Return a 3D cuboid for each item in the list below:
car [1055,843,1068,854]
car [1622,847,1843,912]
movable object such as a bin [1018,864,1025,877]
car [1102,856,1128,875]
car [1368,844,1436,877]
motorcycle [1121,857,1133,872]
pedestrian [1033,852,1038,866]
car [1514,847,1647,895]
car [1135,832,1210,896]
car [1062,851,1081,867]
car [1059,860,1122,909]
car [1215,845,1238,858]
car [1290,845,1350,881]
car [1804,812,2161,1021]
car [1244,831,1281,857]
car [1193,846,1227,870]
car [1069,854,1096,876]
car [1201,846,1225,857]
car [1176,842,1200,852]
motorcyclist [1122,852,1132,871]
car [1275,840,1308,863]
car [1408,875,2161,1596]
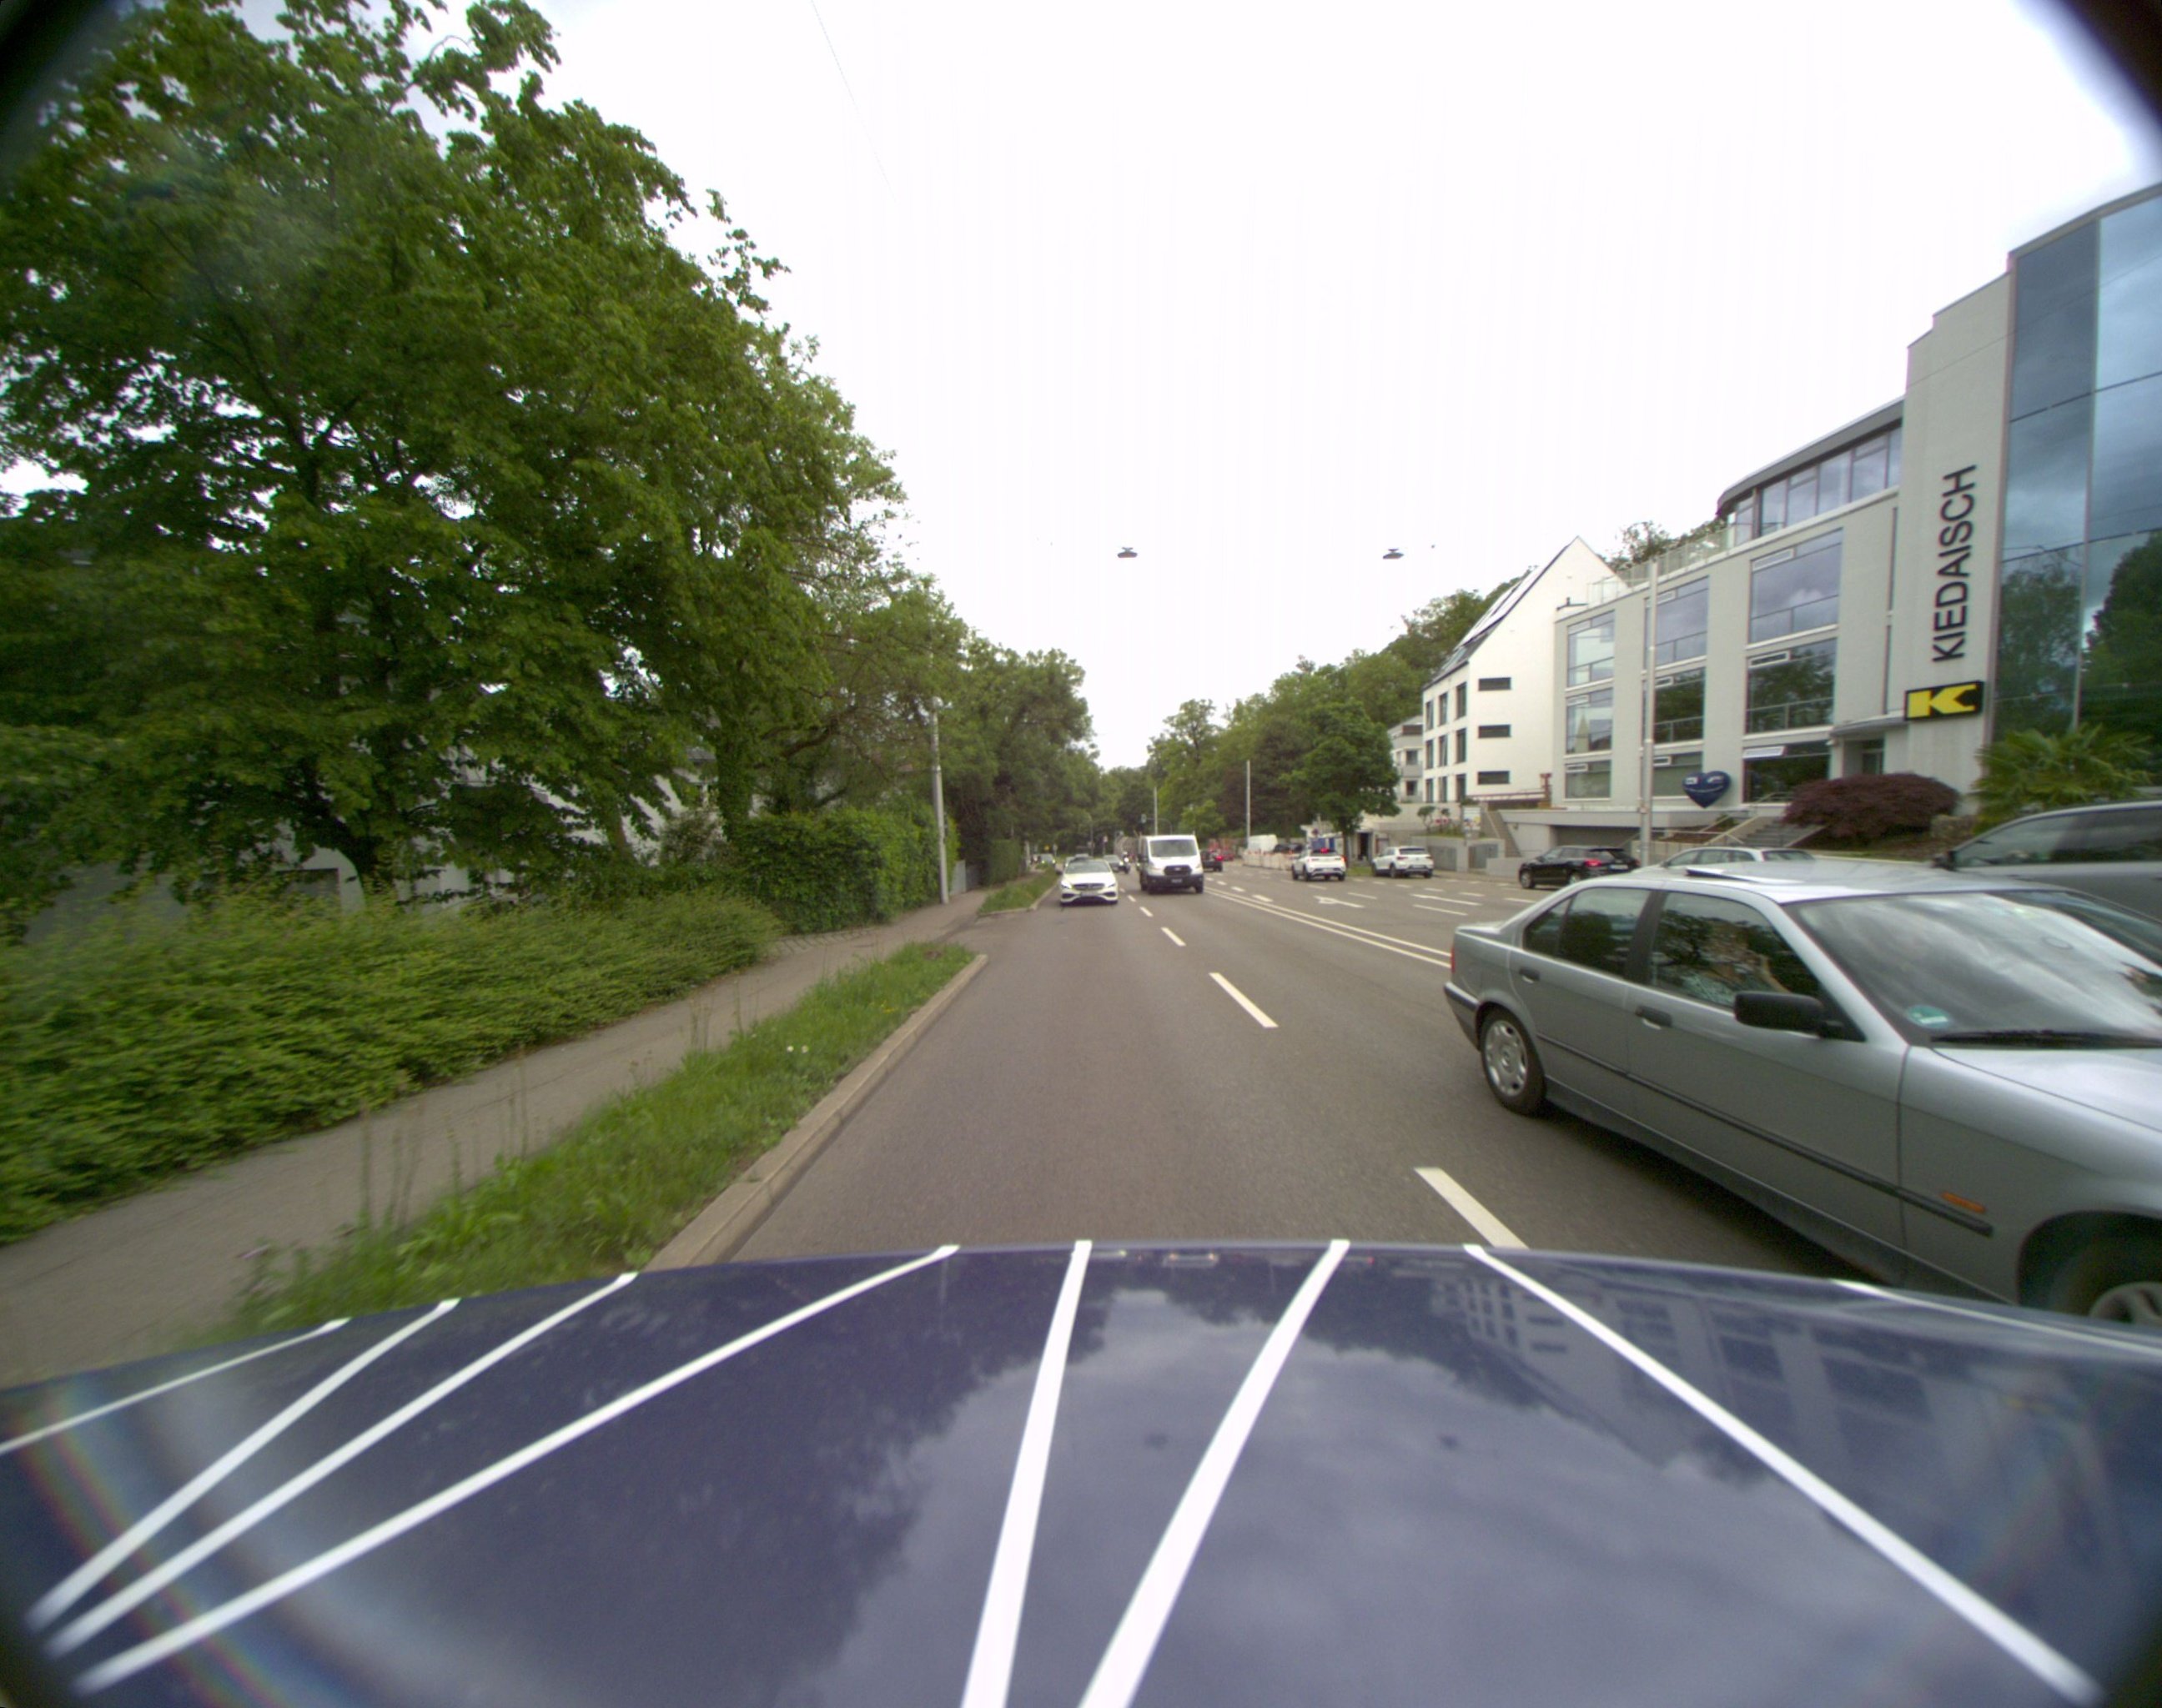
[{"bbox_3d":[-3.576,-1.019,140.020,2.000,1.880,3.997,-2,1,-8],"label":"car"},{"bbox_3d":[16.154,0.543,19.207,1.677,1.420,4.416,1,1,-2],"label":"car"},{"bbox_3d":[-4.142,1.136,52.858,0.474,0.906,0.454,-2,1,1],"label":"movable object such as a bin"},{"bbox_3d":[3.020,0.996,67.945,1.999,1.540,3.999,-1,0,-1],"label":"car"},{"bbox_3d":[15.594,0.270,37.084,1.672,1.495,4.238,-1,1,2],"label":"car"},{"bbox_3d":[3.492,0.791,58.223,0.574,1.120,2.295,-4,1,-3],"label":"motorcycle"},{"bbox_3d":[-5.963,0.676,99.608,0.513,1.824,0.494,-2,1,-1],"label":"pedestrian"},{"bbox_3d":[16.052,0.494,24.706,1.677,1.420,4.089,-1,1,1],"label":"car"},{"bbox_3d":[3.406,0.348,29.543,1.999,2.161,6.267,-1,0,-1],"label":"car"},{"bbox_3d":[-0.954,0.476,75.814,1.675,1.523,3.998,-2,1,-3],"label":"car"},{"bbox_3d":[0.224,0.919,24.564,1.821,1.339,3.999,-2,1,-2],"label":"car"},{"bbox_3d":[16.223,-0.305,84.838,1.582,1.434,3.293,-2,1,-4],"label":"car"},{"bbox_3d":[11.163,0.378,35.811,1.804,1.533,3.923,-1,0,4],"label":"car"},{"bbox_3d":[9.676,0.473,6.852,1.768,1.699,4.870,-2,0,2],"label":"car"},{"bbox_3d":[18.686,-1.005,78.696,1.999,2.511,6.532,-3,1,-2],"label":"car"},{"bbox_3d":[9.760,0.262,57.796,1.852,1.693,4.763,-1,1,2],"label":"car"},{"bbox_3d":[0.057,0.782,53.940,1.734,1.403,3.999,-2,1,-2],"label":"car"},{"bbox_3d":[18.569,-0.377,107.166,3.301,1.434,1.579,-2,1,-40],"label":"car"},{"bbox_3d":[14.840,-0.979,105.855,1.569,1.277,3.287,-2,1,-29],"label":"car"},{"bbox_3d":[3.508,0.569,58.238,0.619,1.463,0.930,-4,1,-3],"label":"motorcyclist"},{"bbox_3d":[17.516,-0.236,63.480,1.810,1.741,4.251,-3,1,5],"label":"car"},{"bbox_3d":[3.105,0.876,2.880,1.639,1.375,4.619,-2,1,-1],"label":"car"}]
